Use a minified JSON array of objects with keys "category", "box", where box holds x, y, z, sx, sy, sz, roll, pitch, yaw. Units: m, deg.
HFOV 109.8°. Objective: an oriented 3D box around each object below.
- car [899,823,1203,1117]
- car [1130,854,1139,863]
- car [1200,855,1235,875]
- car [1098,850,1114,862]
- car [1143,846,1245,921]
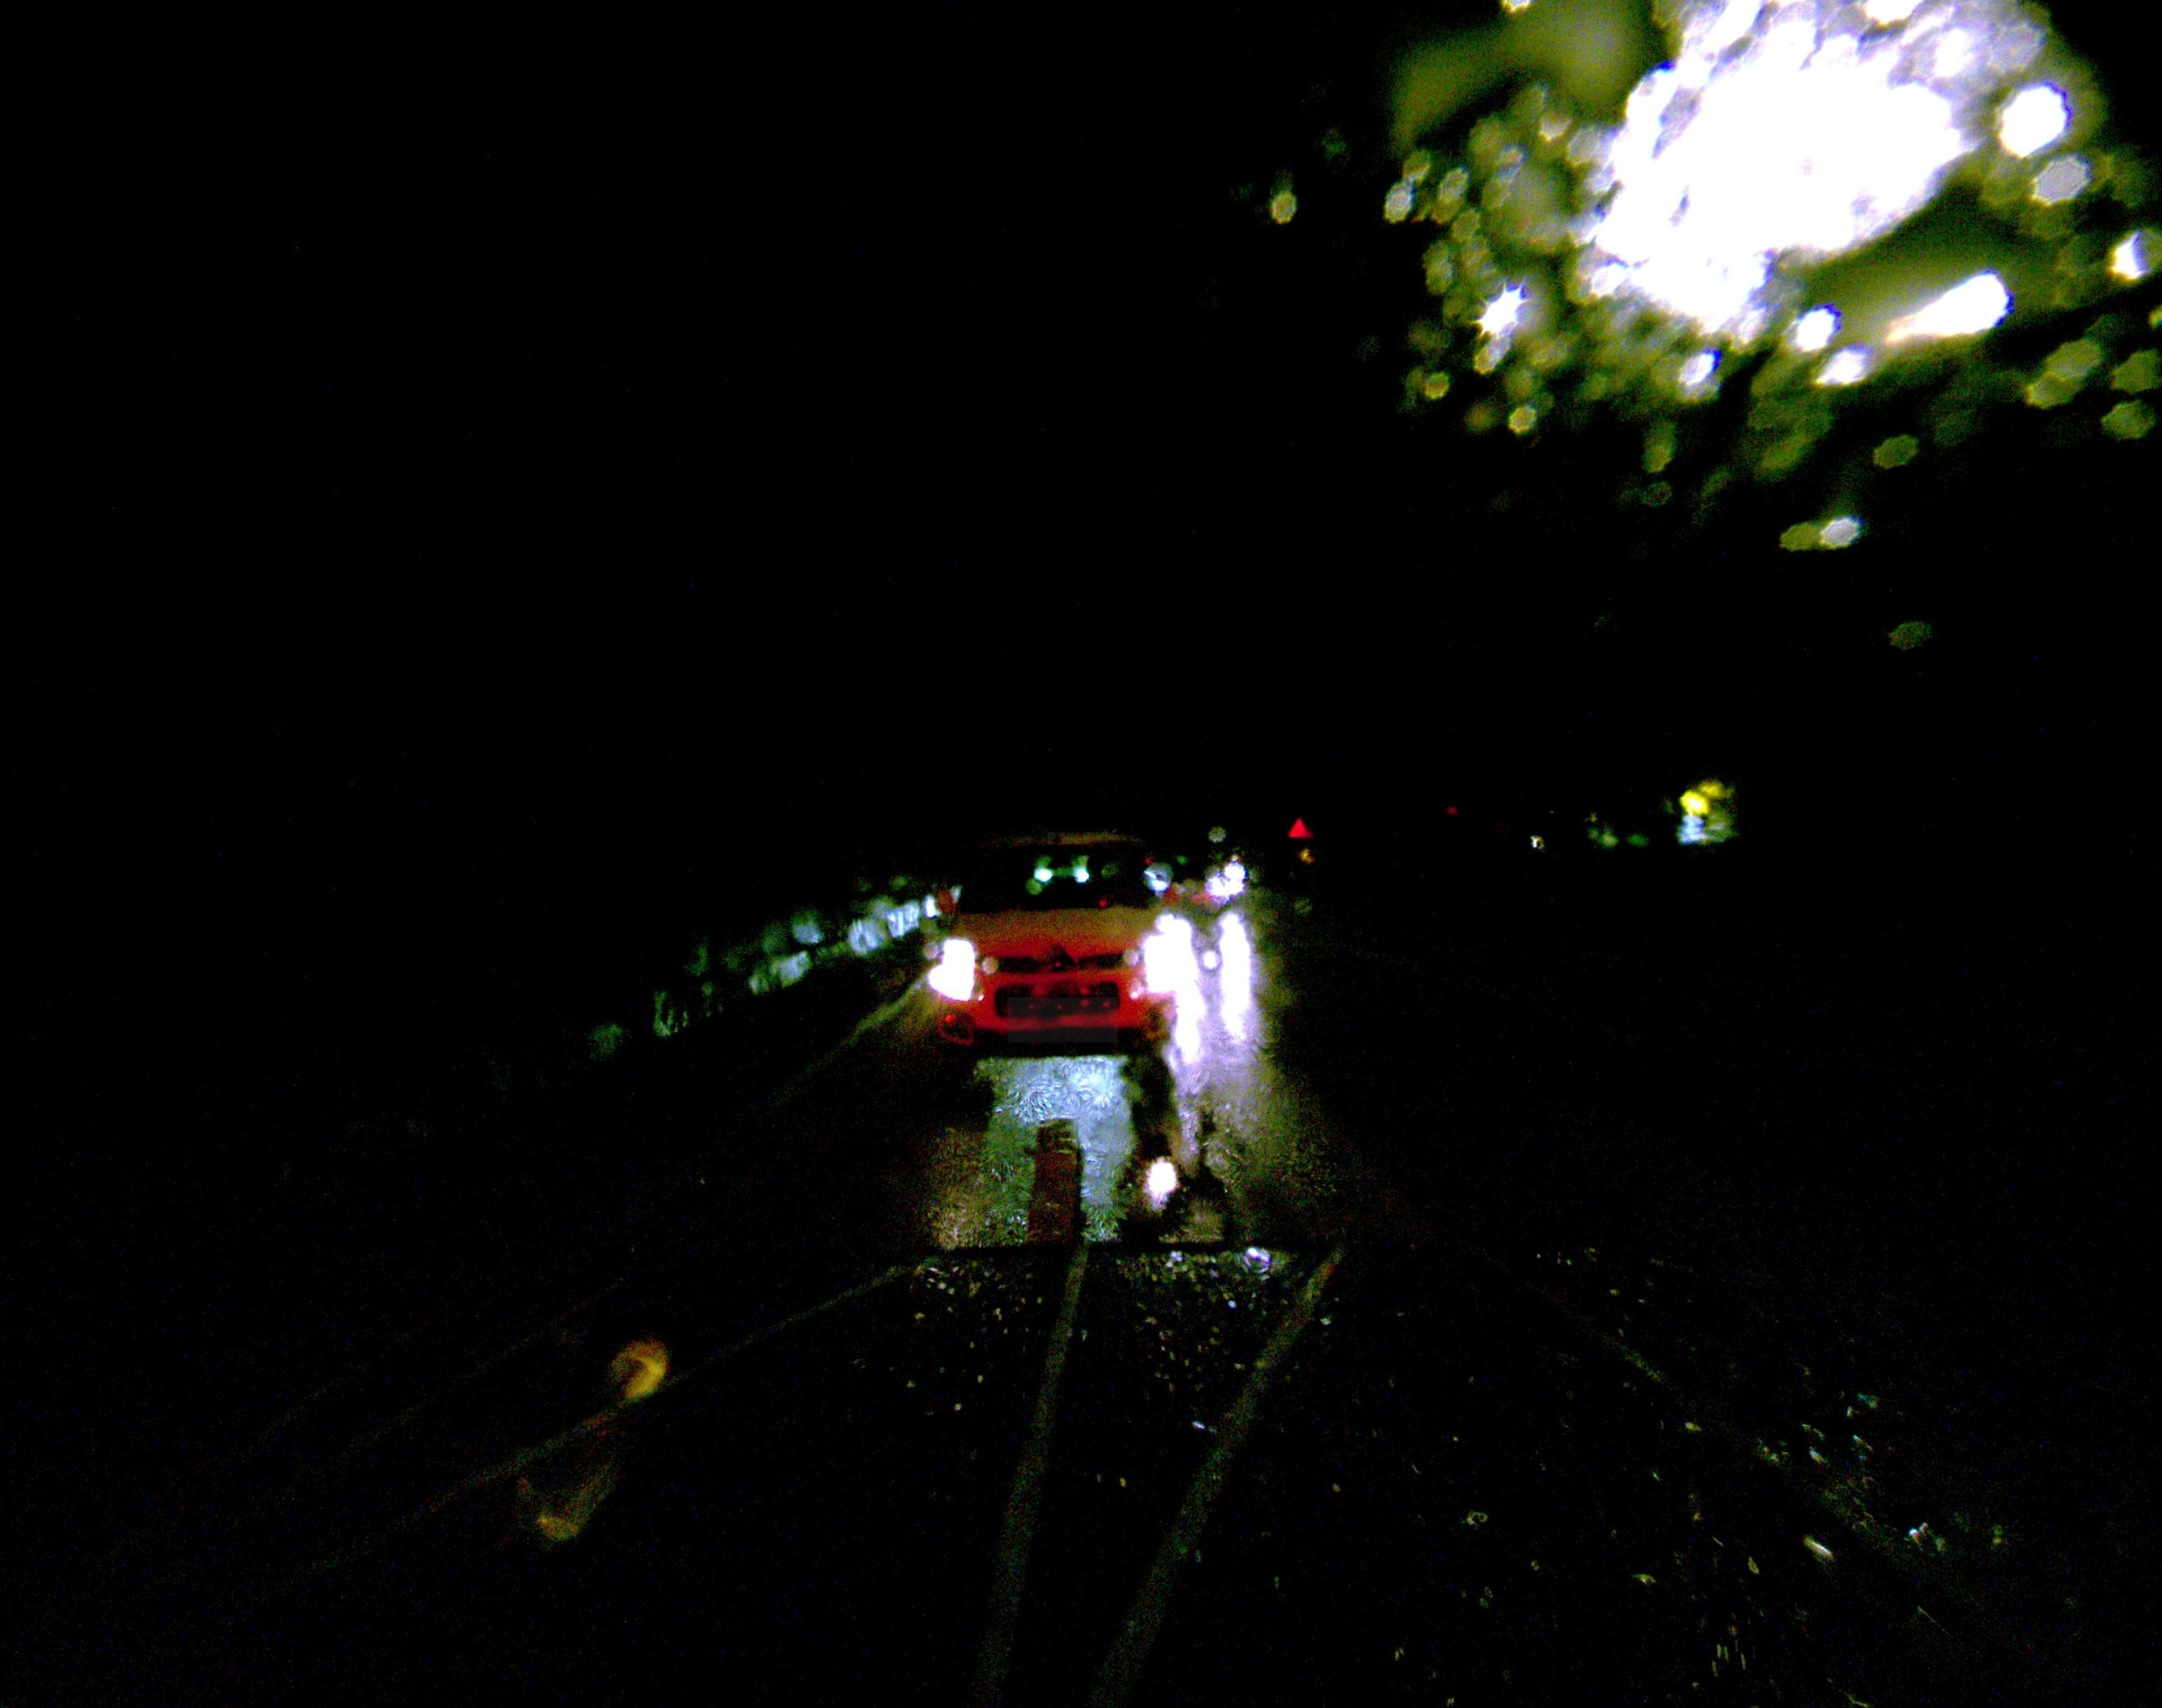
[{"category":"car","box":[-0.068,0.728,6.882,1.877,1.825,4.206,-1,0,4]},{"category":"car","box":[12.437,0.957,175.583,1.998,2.002,4.002,-1,0,6]},{"category":"car","box":[11.552,0.866,64.682,1.751,1.495,4.889,-2,1,-5]},{"category":"car","box":[3.612,0.282,109.827,1.997,1.456,4.001,-1,1,6]},{"category":"car","box":[2.808,0.675,19.939,1.914,1.694,4.938,-1,0,0]}]
